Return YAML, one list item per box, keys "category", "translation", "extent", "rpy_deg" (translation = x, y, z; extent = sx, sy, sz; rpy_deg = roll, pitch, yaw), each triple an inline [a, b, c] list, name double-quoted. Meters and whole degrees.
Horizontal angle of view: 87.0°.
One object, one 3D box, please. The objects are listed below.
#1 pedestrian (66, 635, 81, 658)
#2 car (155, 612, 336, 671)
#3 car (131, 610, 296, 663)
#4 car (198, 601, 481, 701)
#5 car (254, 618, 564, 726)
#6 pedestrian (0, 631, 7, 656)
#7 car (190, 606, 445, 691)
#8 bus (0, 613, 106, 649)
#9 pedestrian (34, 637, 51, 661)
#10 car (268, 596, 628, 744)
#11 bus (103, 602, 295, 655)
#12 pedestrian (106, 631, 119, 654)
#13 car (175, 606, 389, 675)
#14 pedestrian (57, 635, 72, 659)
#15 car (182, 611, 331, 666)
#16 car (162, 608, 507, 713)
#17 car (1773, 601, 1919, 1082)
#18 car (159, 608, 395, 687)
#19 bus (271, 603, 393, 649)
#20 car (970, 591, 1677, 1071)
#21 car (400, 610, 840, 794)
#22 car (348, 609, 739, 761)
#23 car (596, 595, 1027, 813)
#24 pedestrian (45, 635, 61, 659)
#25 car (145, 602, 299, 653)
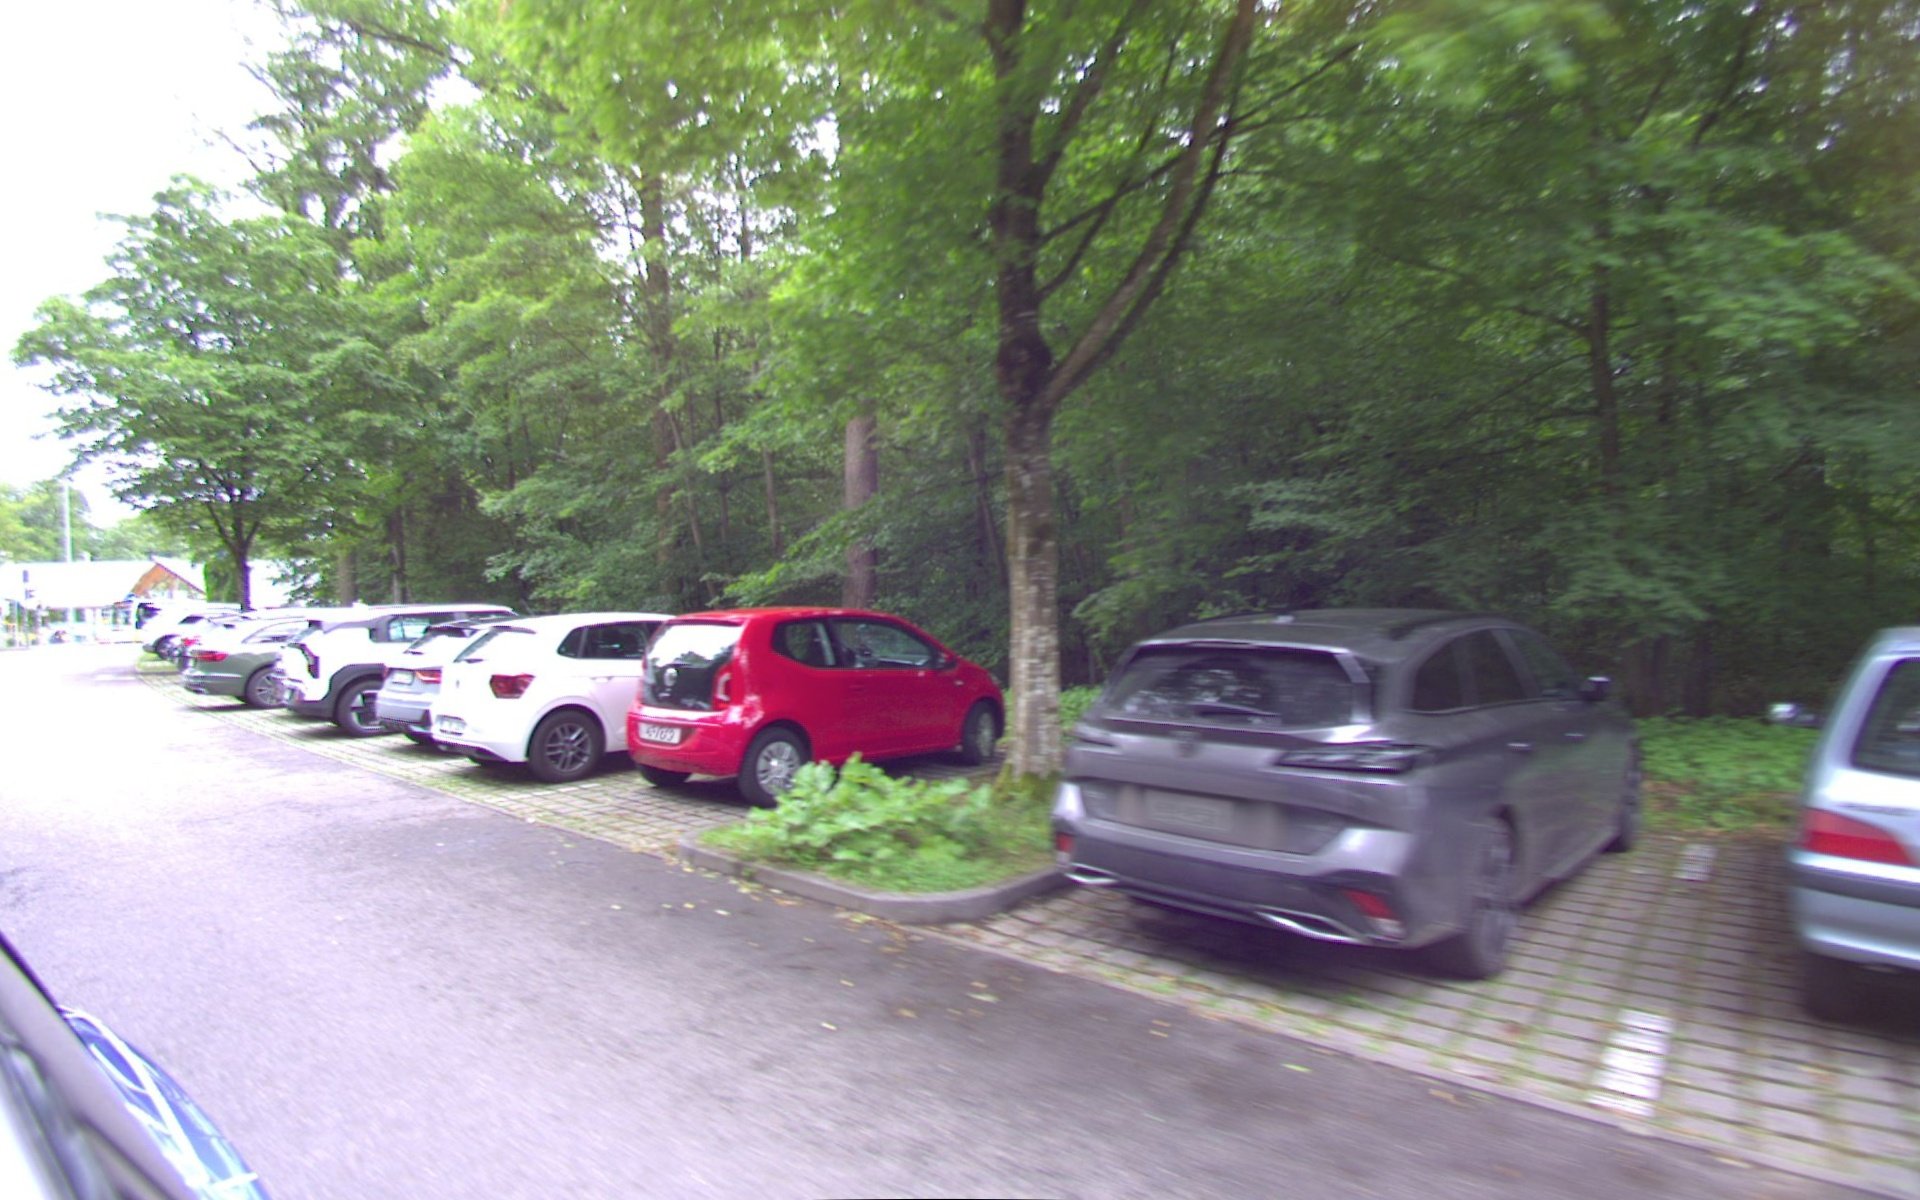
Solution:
- category: "pedestrian"
  translation: [-69.252, 3.644, 79.040]
  extent: [0.664, 1.771, 0.596]
  rpy_deg: [-4, -1, 21]
- category: "car"
  translation: [-19.716, 1.107, 28.015]
  extent: [3.938, 1.502, 1.709]
  rpy_deg: [0, -2, -42]
- category: "car"
  translation: [-24.794, 1.158, 33.748]
  extent: [4.298, 1.610, 2.035]
  rpy_deg: [0, -1, -37]
- category: "car"
  translation: [-11.551, 0.871, 19.038]
  extent: [1.970, 1.660, 4.186]
  rpy_deg: [-2, -1, 43]
- category: "car"
  translation: [-8.148, 0.976, 15.175]
  extent: [1.730, 1.366, 3.747]
  rpy_deg: [-2, -1, 44]
- category: "pedestrian"
  translation: [-68.917, 3.119, 72.580]
  extent: [0.668, 1.771, 0.726]
  rpy_deg: [-5, -2, 44]
- category: "car"
  translation: [-13.184, 0.926, 20.939]
  extent: [1.763, 1.545, 4.185]
  rpy_deg: [-2, -1, 45]
- category: "bus"
  translation: [-102.475, 3.440, 110.722]
  extent: [3.918, 3.509, 18.601]
  rpy_deg: [-4, -1, -6]
- category: "pedestrian"
  translation: [-70.793, 3.788, 78.100]
  extent: [0.721, 1.771, 0.739]
  rpy_deg: [-4, -1, -20]
- category: "car"
  translation: [-6.660, 0.796, 13.300]
  extent: [3.909, 1.640, 2.002]
  rpy_deg: [0, -1, -38]
- category: "bus"
  translation: [-51.610, 1.840, 69.183]
  extent: [2.795, 3.183, 10.434]
  rpy_deg: [-4, -2, 24]
- category: "pedestrian"
  translation: [-65.950, 3.319, 78.718]
  extent: [0.646, 1.771, 0.669]
  rpy_deg: [-3, -2, -45]
- category: "car"
  translation: [-16.648, 0.926, 24.959]
  extent: [4.182, 1.484, 1.722]
  rpy_deg: [-1, 0, -42]
- category: "pedestrian"
  translation: [-69.444, 3.625, 78.465]
  extent: [0.664, 1.771, 0.596]
  rpy_deg: [-4, -1, 21]
- category: "car"
  translation: [-20.927, 1.103, 30.163]
  extent: [3.560, 1.485, 1.677]
  rpy_deg: [-1, -1, -38]
- category: "car"
  translation: [-10.356, 0.900, 16.984]
  extent: [2.096, 1.489, 4.586]
  rpy_deg: [-2, -1, 45]
- category: "car"
  translation: [4.512, 0.711, 3.995]
  extent: [1.756, 1.397, 3.716]
  rpy_deg: [-1, 0, 43]
- category: "car"
  translation: [-15.235, 0.987, 22.674]
  extent: [4.181, 1.541, 2.009]
  rpy_deg: [-1, 0, -41]
- category: "bus"
  translation: [-47.913, 1.924, 77.476]
  extent: [2.795, 3.183, 7.693]
  rpy_deg: [-4, -2, 24]
- category: "car"
  translation: [2.256, 0.696, 5.367]
  extent: [2.035, 1.435, 4.358]
  rpy_deg: [-1, 0, 42]
- category: "car"
  translation: [-3.214, 0.834, 9.999]
  extent: [1.872, 1.430, 3.685]
  rpy_deg: [-2, -1, 43]
- category: "car"
  translation: [-4.677, 0.838, 11.747]
  extent: [1.895, 1.432, 3.764]
  rpy_deg: [-1, -1, 40]
- category: "car"
  translation: [-1.149, 0.732, 8.796]
  extent: [1.684, 1.492, 3.427]
  rpy_deg: [-1, -1, 43]
- category: "pedestrian"
  translation: [-70.114, 3.643, 78.239]
  extent: [0.555, 1.771, 0.667]
  rpy_deg: [-4, -1, 7]
- category: "car"
  translation: [-30.325, 1.093, 41.797]
  extent: [5.016, 1.930, 1.984]
  rpy_deg: [0, -1, -33]
